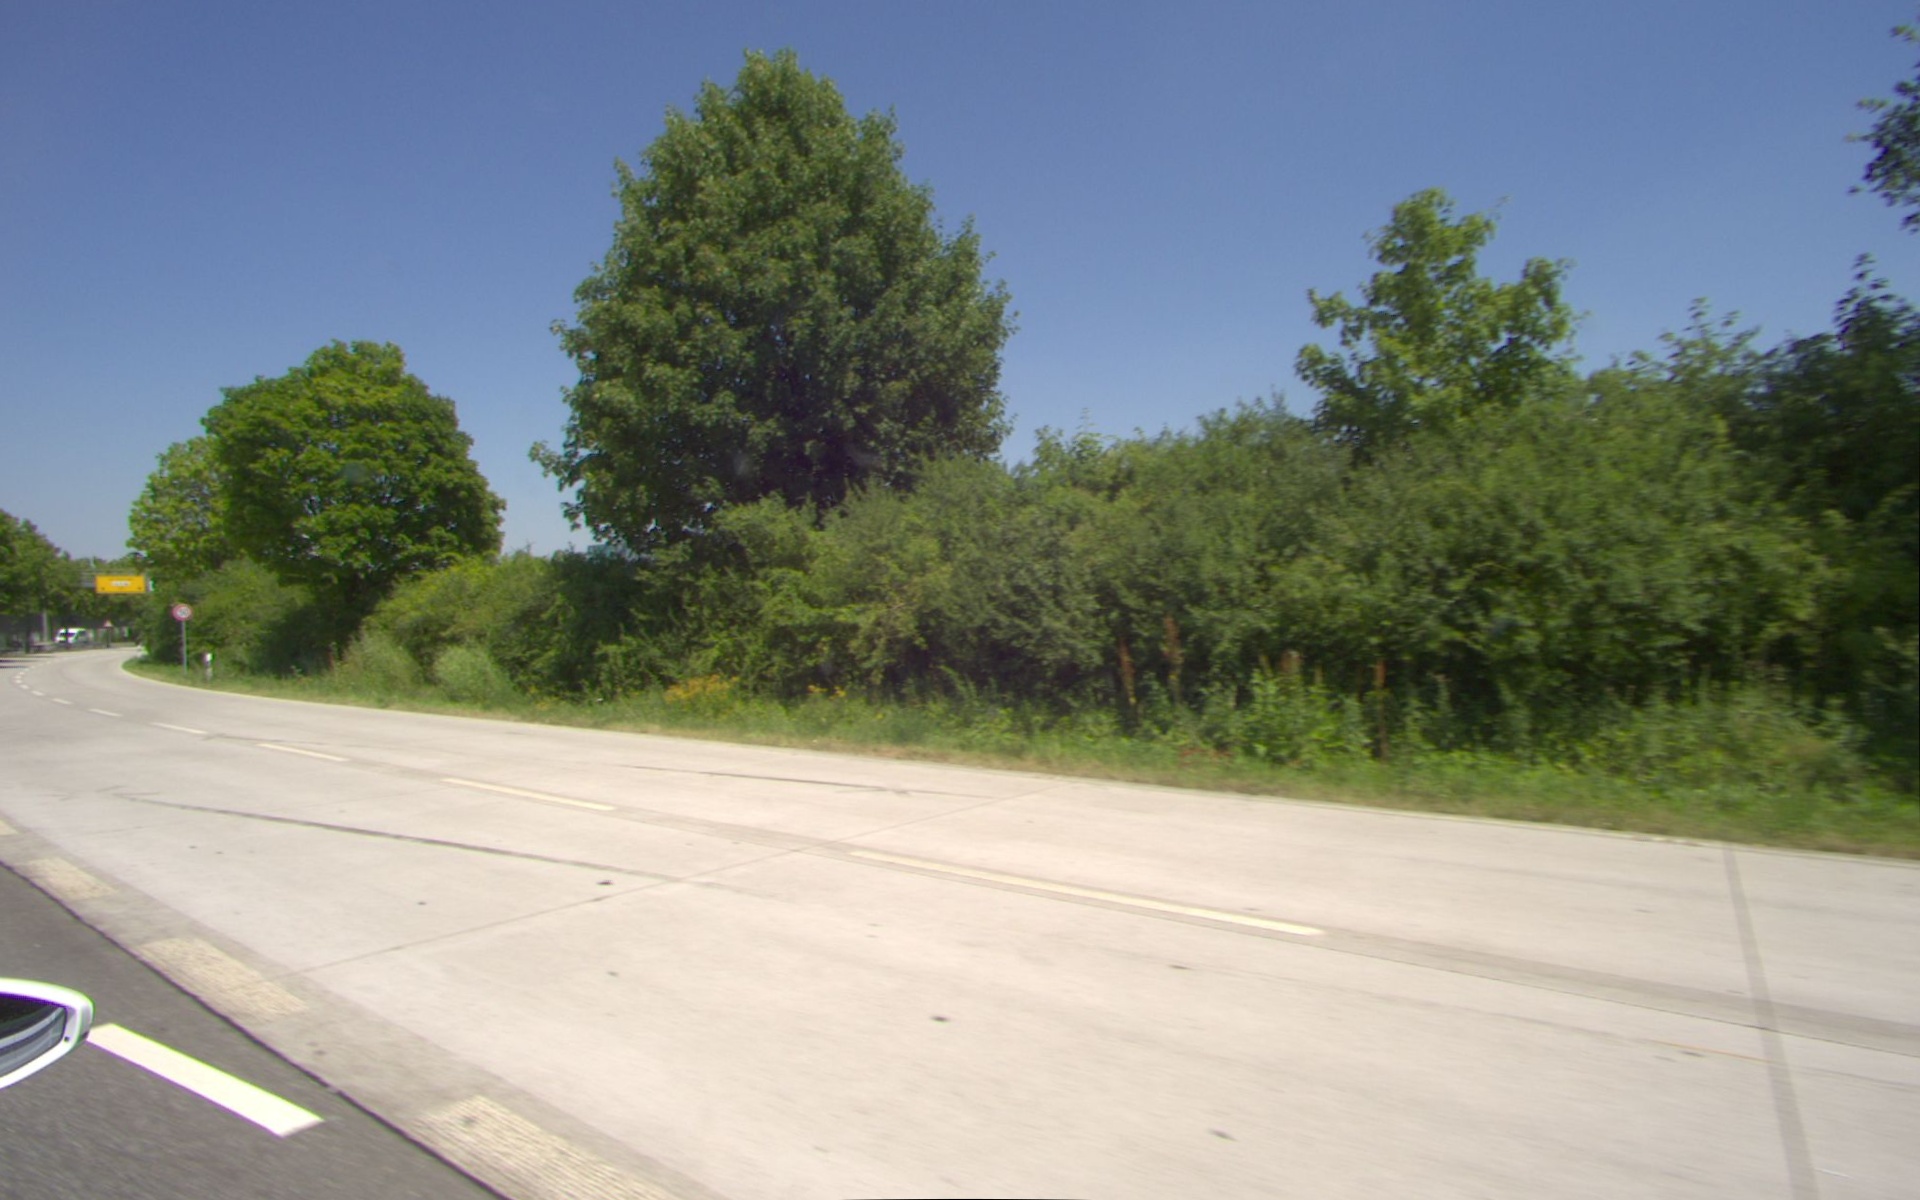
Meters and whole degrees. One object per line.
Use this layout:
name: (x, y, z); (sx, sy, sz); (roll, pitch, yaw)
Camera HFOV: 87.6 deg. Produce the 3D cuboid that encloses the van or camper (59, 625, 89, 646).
van or camper: (-118.433, 4.797, 133.840); (1.969, 2.717, 3.985); (0, -1, -26)
